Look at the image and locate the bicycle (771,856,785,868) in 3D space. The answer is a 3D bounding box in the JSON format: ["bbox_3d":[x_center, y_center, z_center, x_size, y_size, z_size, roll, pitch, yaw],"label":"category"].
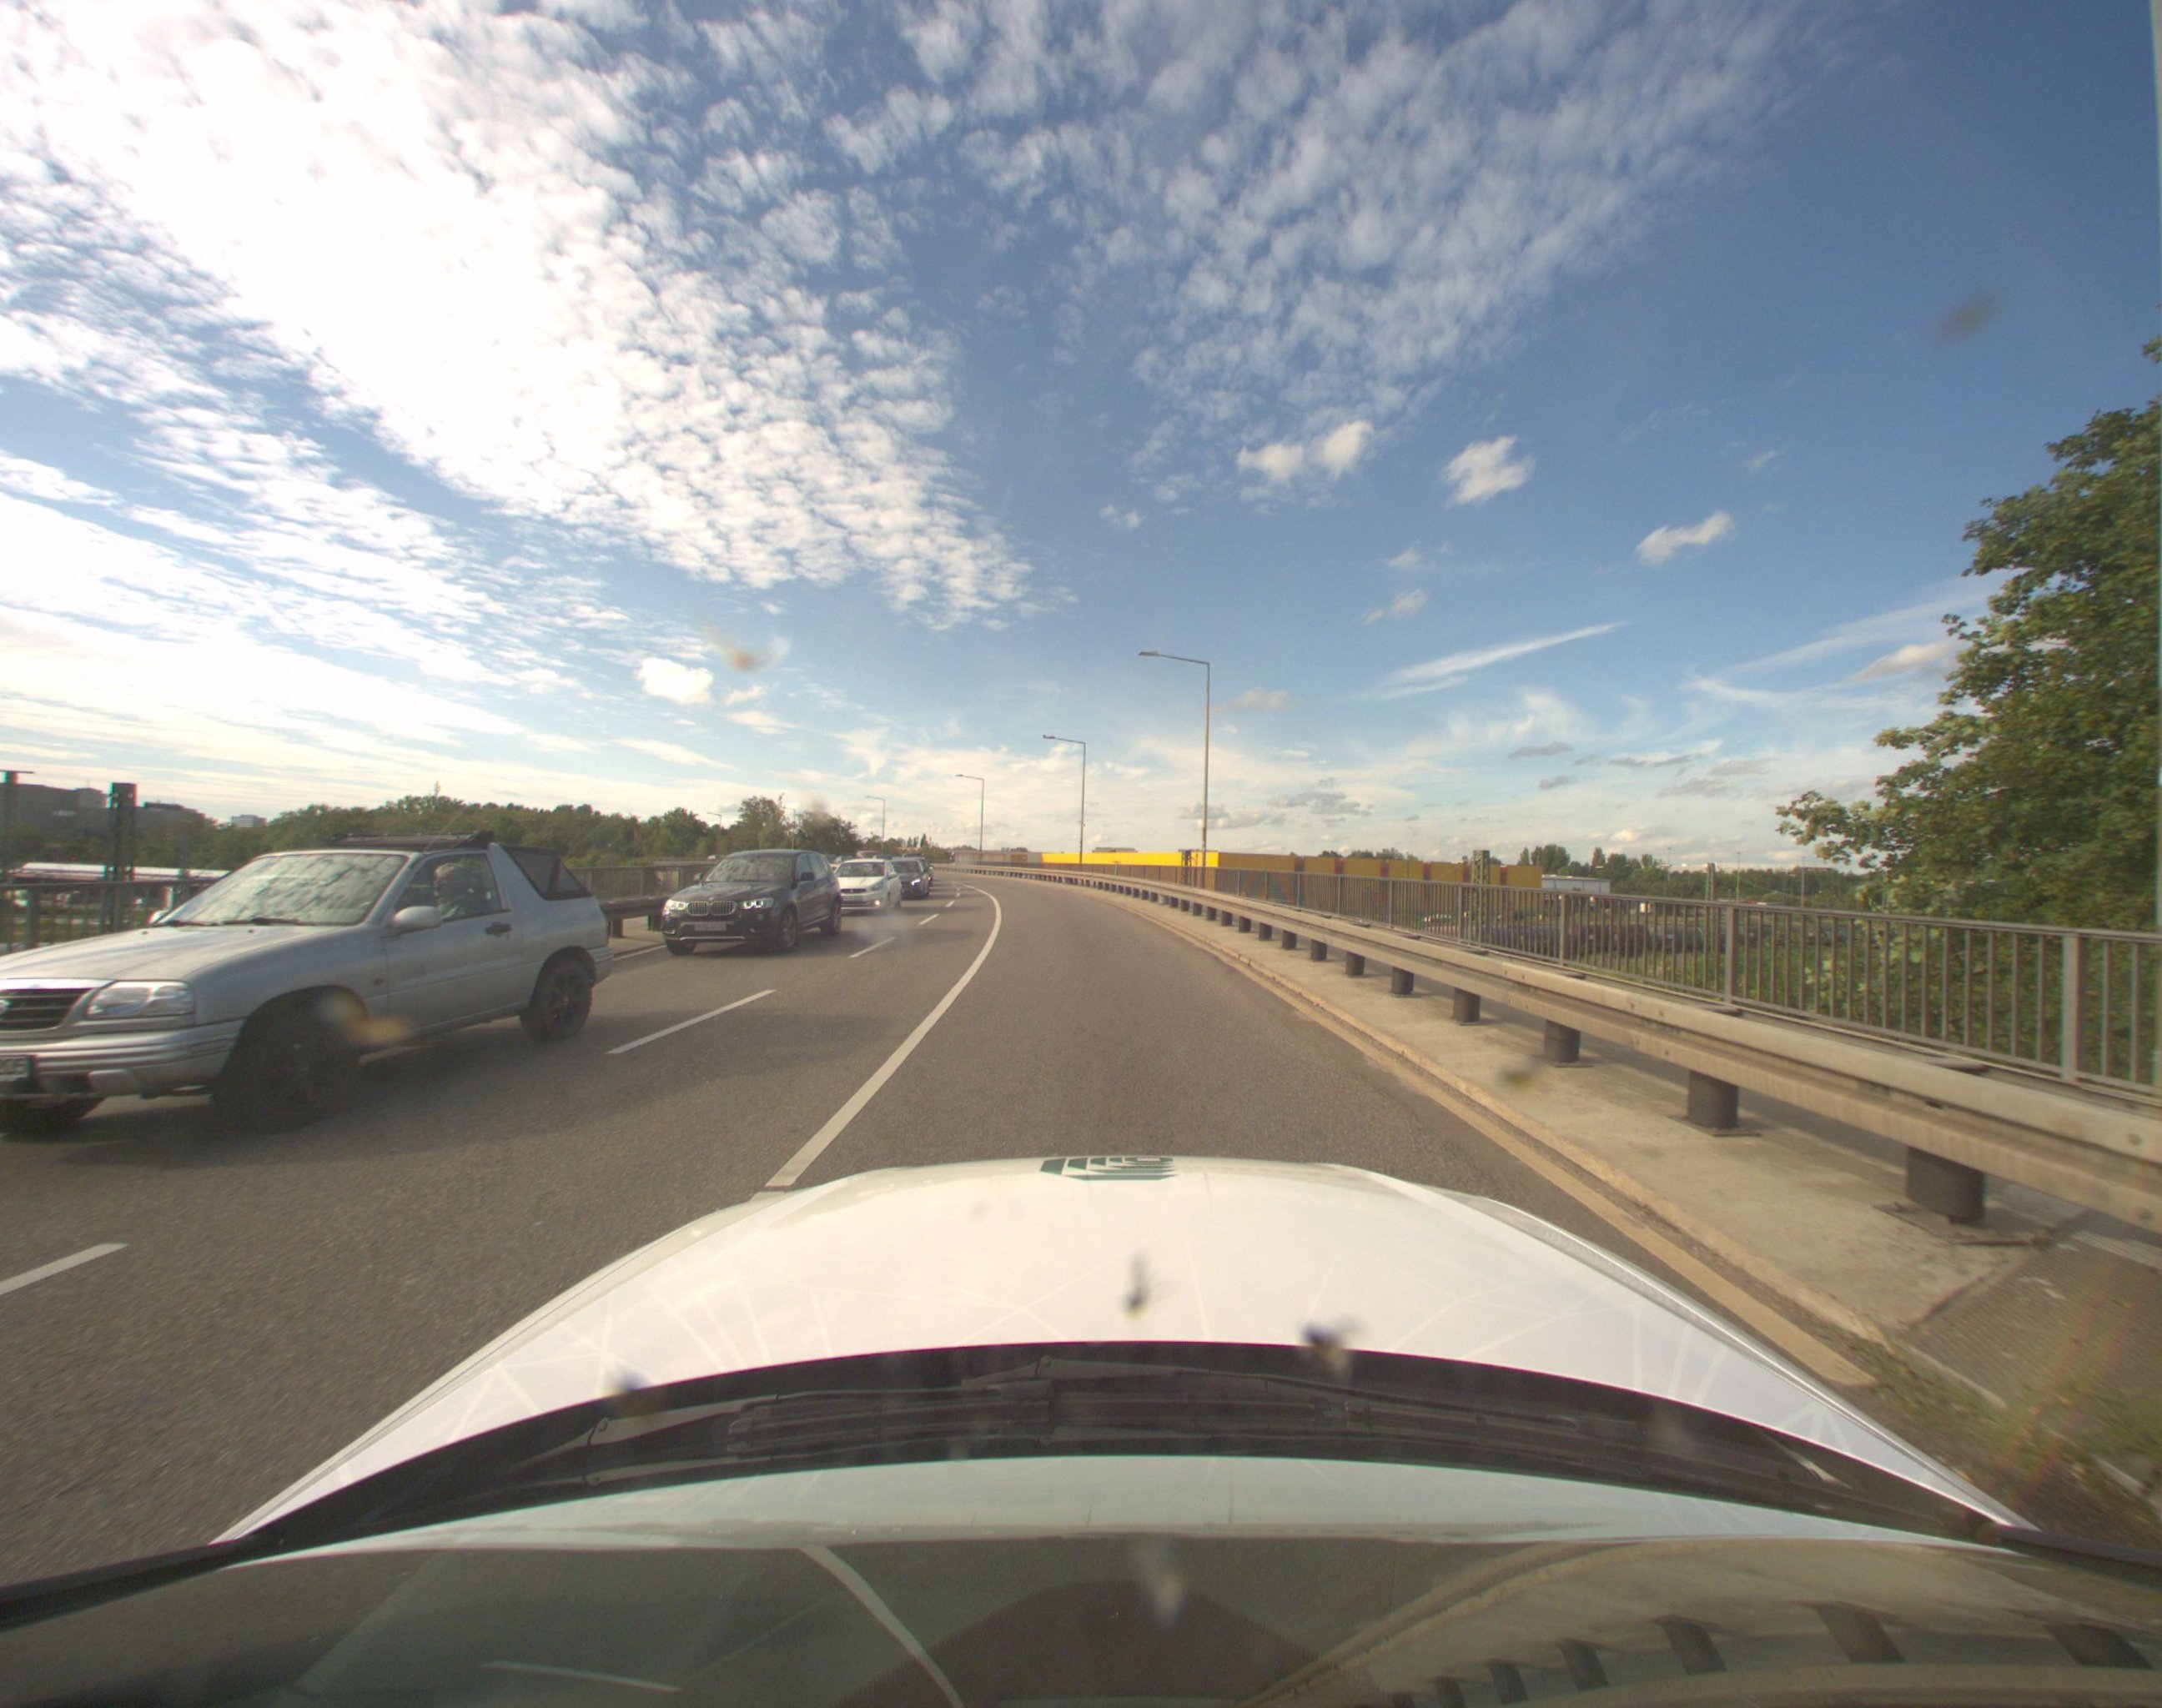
[{"bbox_3d":[-32.751,0.870,87.988,0.771,1.331,1.893,0,-1,-41],"label":"bicycle"}]

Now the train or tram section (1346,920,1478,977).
[{"bbox_3d":[35.147,9.766,85.829,16.795,4.712,3.068,0,-1,-29],"label":"train or tram section"}]

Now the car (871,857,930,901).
[{"bbox_3d":[-6.509,0.839,29.787,1.812,1.456,4.311,-1,0,-9],"label":"car"}]

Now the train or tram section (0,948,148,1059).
[{"bbox_3d":[-55.817,7.343,37.500,16.794,4.712,3.068,0,-1,-29],"label":"train or tram section"}]

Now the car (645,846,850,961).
[{"bbox_3d":[-5.581,0.727,14.336,1.865,1.666,4.625,-1,0,-3],"label":"car"}]

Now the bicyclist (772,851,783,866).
[{"bbox_3d":[-32.819,0.472,88.109,0.773,1.660,1.107,0,-1,-42],"label":"bicyclist"}]

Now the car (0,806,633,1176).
[{"bbox_3d":[-5.217,0.653,5.794,1.766,1.746,3.840,-1,0,3],"label":"car"}]

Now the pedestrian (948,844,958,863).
[{"bbox_3d":[-11.768,-0.042,74.907,0.680,1.661,0.858,0,-1,-25],"label":"pedestrian"}]

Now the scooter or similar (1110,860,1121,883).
[{"bbox_3d":[1.754,0.883,40.983,0.265,1.162,1.183,0,-1,-12],"label":"scooter or similar"}]

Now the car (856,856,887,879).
[{"bbox_3d":[-18.314,1.182,71.062,2.015,1.903,4.832,-1,0,-22],"label":"car"}]

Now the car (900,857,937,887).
[{"bbox_3d":[-8.605,0.904,43.014,1.762,1.489,4.425,-1,0,-13],"label":"car"}]

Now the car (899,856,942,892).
[{"bbox_3d":[-7.390,0.854,37.210,1.762,1.489,4.371,-1,0,-13],"label":"car"}]

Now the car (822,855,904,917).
[{"bbox_3d":[-5.941,0.808,22.562,1.682,1.545,3.912,-1,0,-8],"label":"car"}]

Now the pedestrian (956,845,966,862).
[{"bbox_3d":[-11.069,-0.045,75.368,0.680,1.543,0.953,0,-1,-25],"label":"pedestrian"}]

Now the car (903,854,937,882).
[{"bbox_3d":[-10.358,0.848,52.120,1.832,1.672,4.842,-1,0,-14],"label":"car"}]
